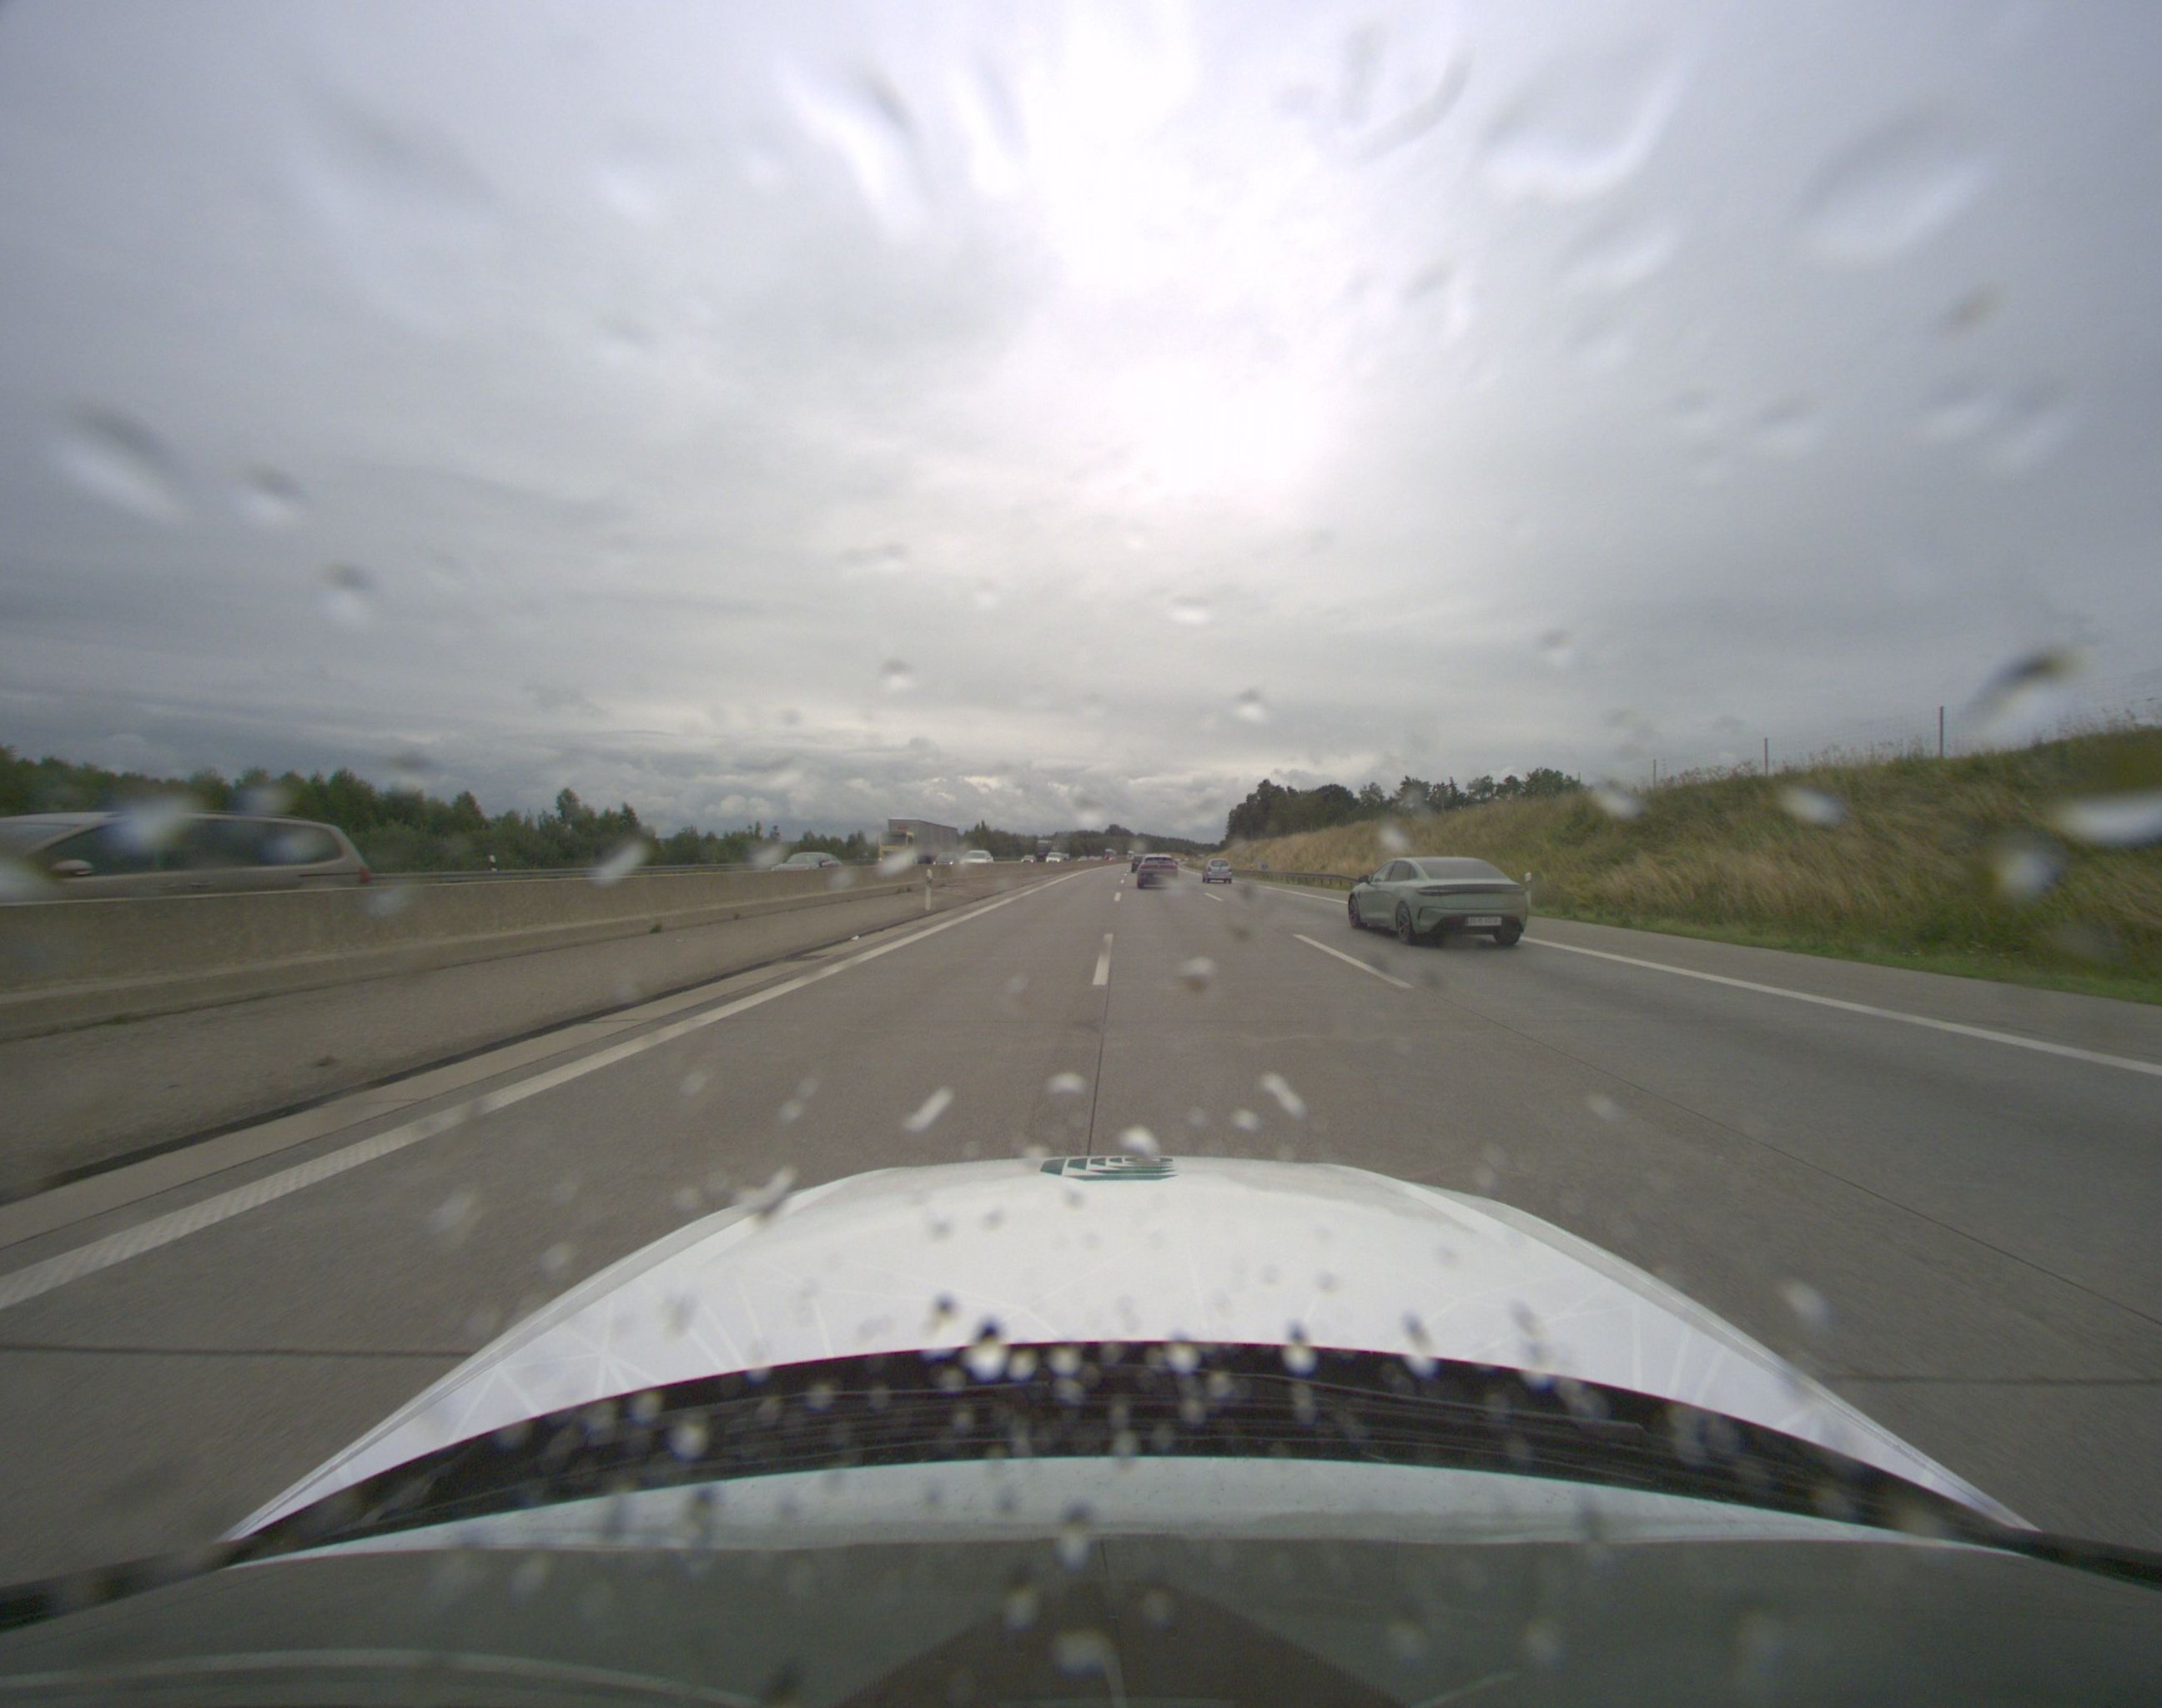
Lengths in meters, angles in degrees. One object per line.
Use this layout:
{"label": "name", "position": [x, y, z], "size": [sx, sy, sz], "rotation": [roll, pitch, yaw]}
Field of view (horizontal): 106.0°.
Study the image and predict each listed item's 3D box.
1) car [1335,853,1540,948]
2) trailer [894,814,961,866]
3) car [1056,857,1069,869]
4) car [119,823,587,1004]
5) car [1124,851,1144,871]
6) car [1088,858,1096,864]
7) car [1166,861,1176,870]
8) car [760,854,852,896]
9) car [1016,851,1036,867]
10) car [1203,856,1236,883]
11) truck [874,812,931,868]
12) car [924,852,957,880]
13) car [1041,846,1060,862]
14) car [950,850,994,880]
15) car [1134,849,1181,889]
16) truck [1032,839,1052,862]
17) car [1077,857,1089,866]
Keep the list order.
{"label": "car", "position": [6.452, 0.747, 15.437], "size": [2.006, 1.445, 4.748], "rotation": [-1, 1, 3]}
{"label": "trailer", "position": [-13.402, -1.211, 72.234], "size": [2.906, 4.217, 11.885], "rotation": [-1, 1, 4]}
{"label": "car", "position": [-3.499, 1.679, 153.122], "size": [1.984, 1.973, 5.337], "rotation": [-1, 1, 4]}
{"label": "car", "position": [-9.796, 0.630, 11.802], "size": [1.893, 2.013, 5.281], "rotation": [-1, 1, 2]}
{"label": "car", "position": [5.013, 0.614, 76.437], "size": [1.776, 1.747, 3.921], "rotation": [-1, 1, 5]}
{"label": "car", "position": [2.788, 1.835, 212.281], "size": [1.710, 1.508, 4.491], "rotation": [1, -1, 4]}
{"label": "car", "position": [14.999, 1.919, 135.482], "size": [1.479, 1.470, 3.508], "rotation": [2, 1, 3]}
{"label": "car", "position": [-11.787, 0.842, 35.375], "size": [2.027, 1.666, 5.271], "rotation": [-1, 0, 2]}
{"label": "car", "position": [-7.420, 0.637, 109.900], "size": [1.906, 2.013, 5.930], "rotation": [-1, 1, 3]}
{"label": "car", "position": [8.234, 0.910, 48.664], "size": [1.479, 1.470, 3.508], "rotation": [2, 1, 3]}
{"label": "truck", "position": [-13.894, -1.082, 63.818], "size": [2.920, 4.180, 5.862], "rotation": [-1, 1, 2]}
{"label": "car", "position": [-10.596, 0.879, 61.787], "size": [1.639, 2.013, 4.002], "rotation": [-1, 1, 2]}
{"label": "car", "position": [-3.946, -0.059, 107.134], "size": [1.906, 2.013, 5.930], "rotation": [-1, 1, 3]}
{"label": "car", "position": [-7.177, 0.687, 53.996], "size": [2.026, 1.867, 4.607], "rotation": [-1, 0, 3]}
{"label": "car", "position": [3.592, 0.643, 38.885], "size": [1.891, 1.689, 5.269], "rotation": [-1, 1, 2]}
{"label": "truck", "position": [-7.435, -0.709, 155.501], "size": [2.776, 4.262, 6.057], "rotation": [3, 1, 4]}
{"label": "car", "position": [0.302, 1.325, 149.127], "size": [1.985, 1.519, 4.401], "rotation": [-1, 1, 3]}
